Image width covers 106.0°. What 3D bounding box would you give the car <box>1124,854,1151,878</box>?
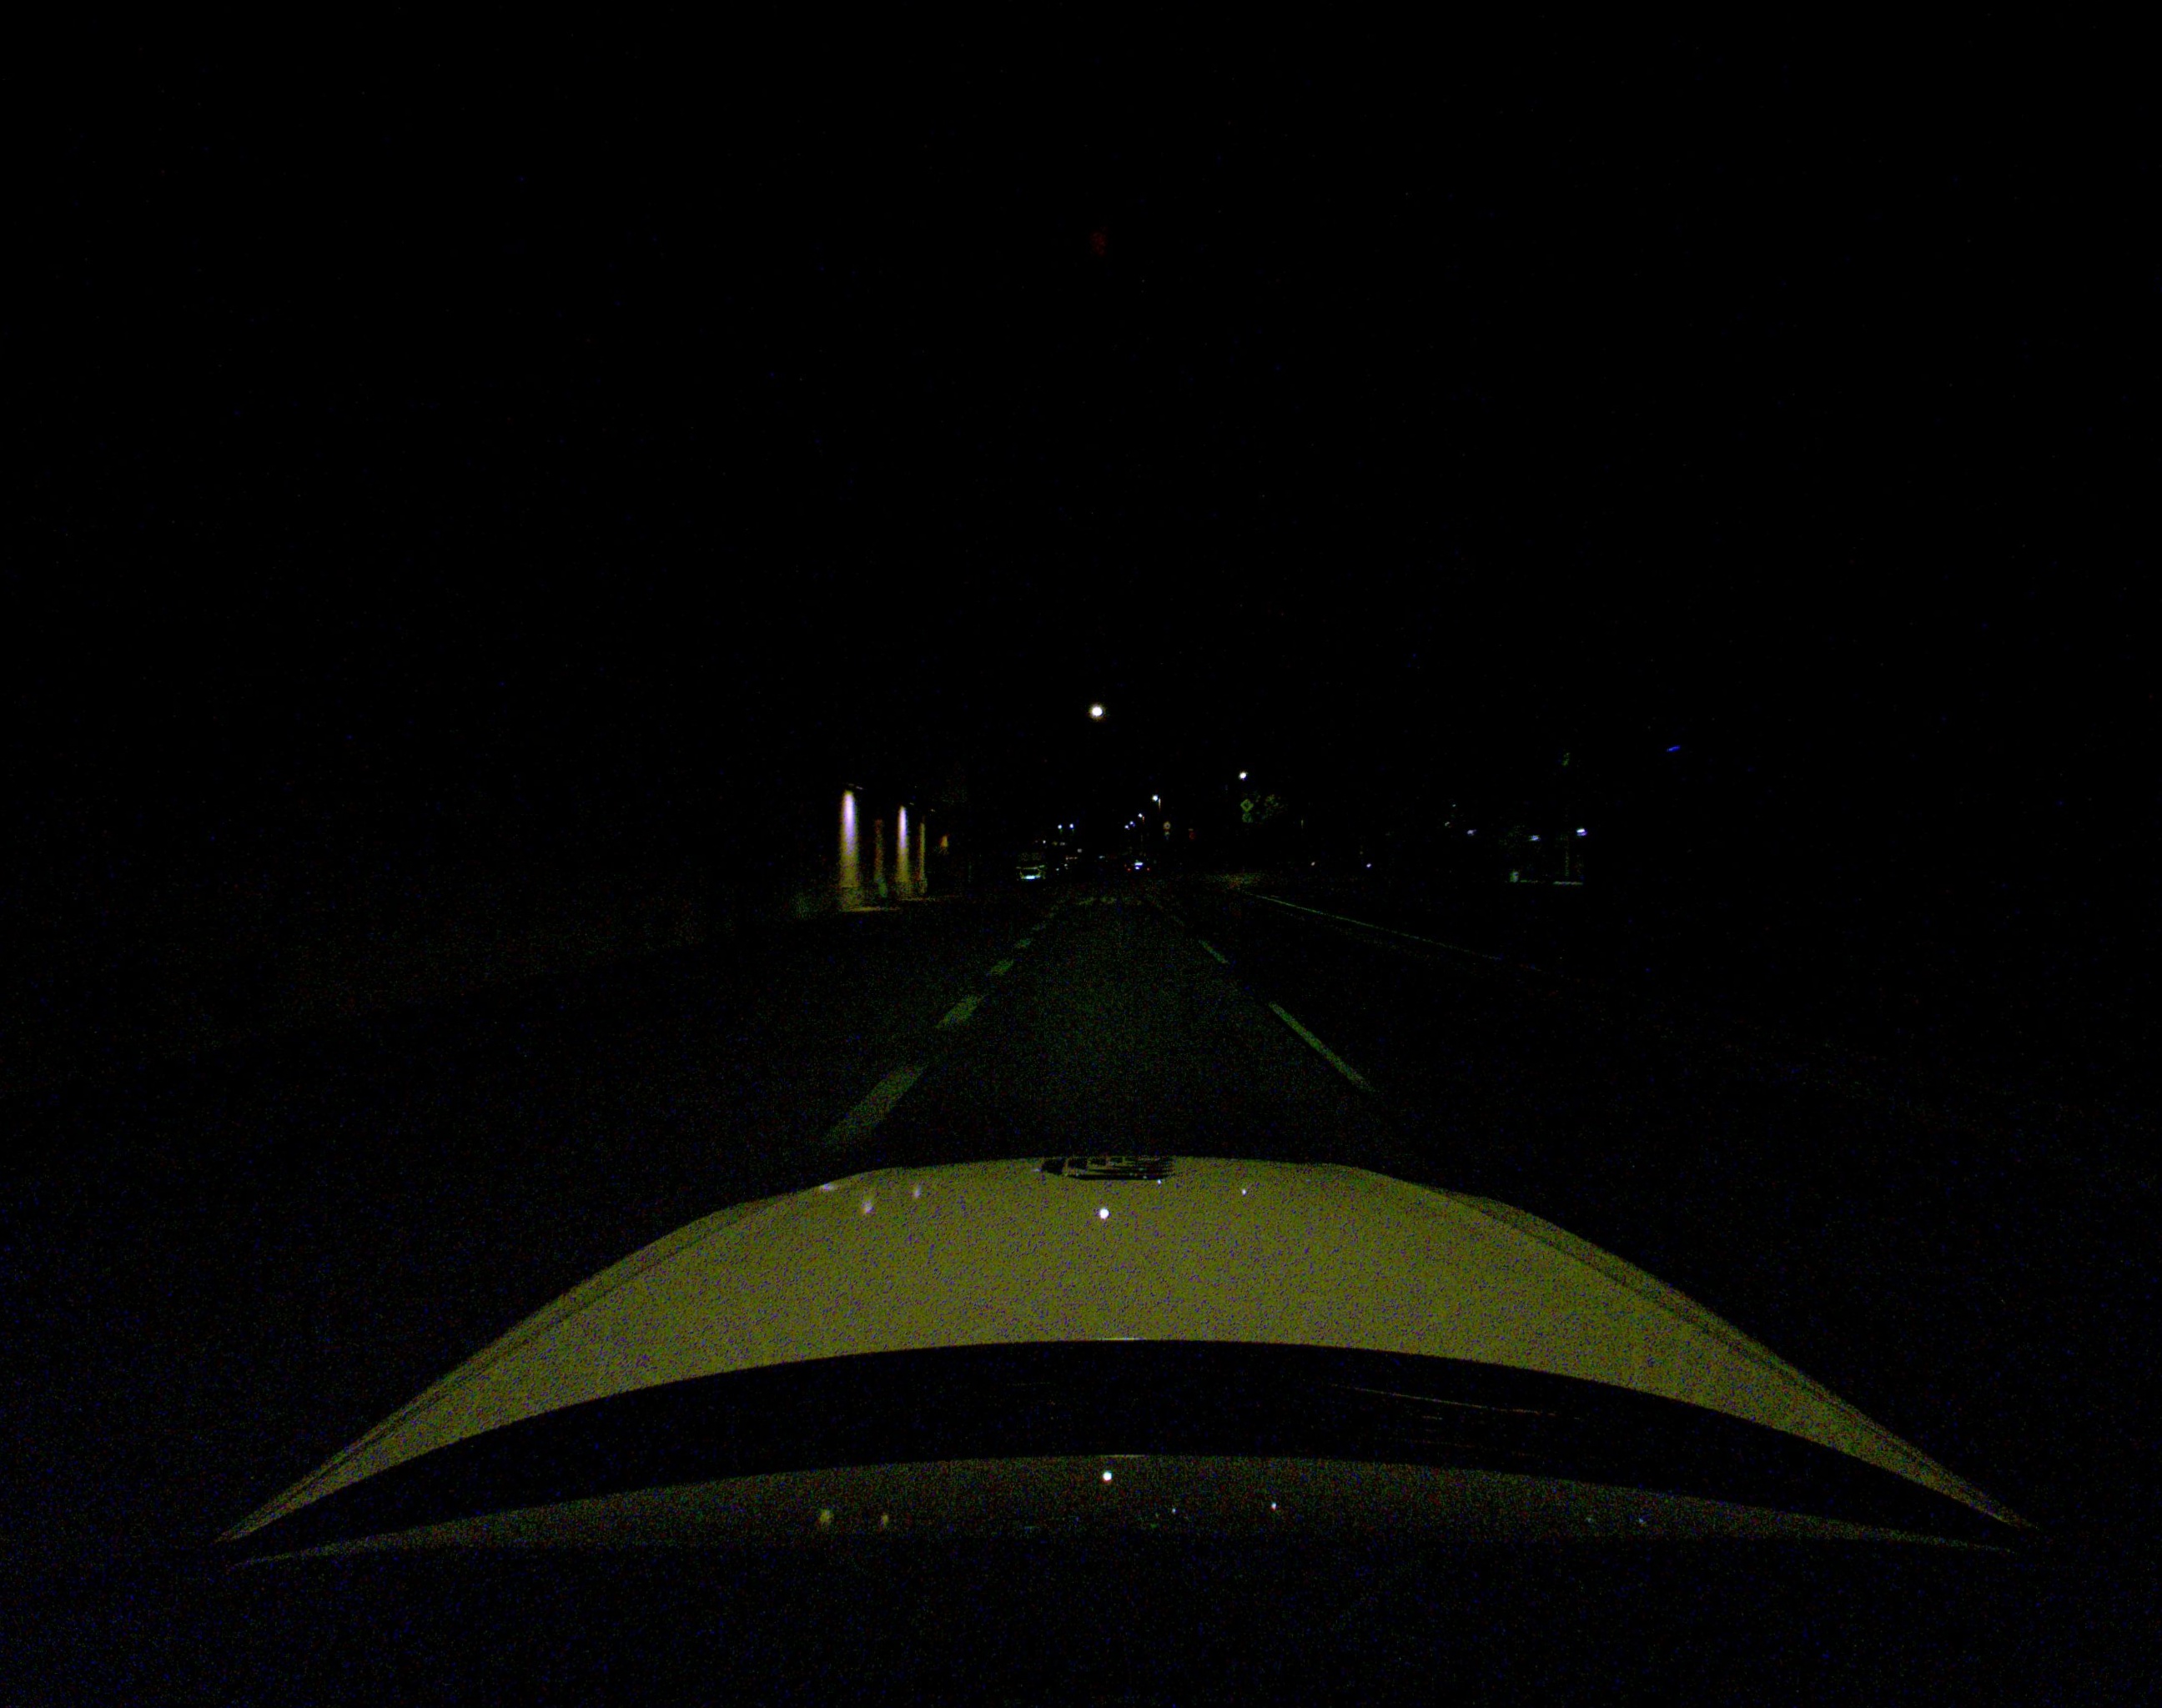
[{"bbox_3d":[4.201,0.877,60.582,1.876,1.603,4.111,-3,-1,3],"label":"car"}]

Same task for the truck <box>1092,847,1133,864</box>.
[{"bbox_3d":[5.325,0.295,138.119,6.758,2.844,1.999,-1,0,-2],"label":"truck"}]

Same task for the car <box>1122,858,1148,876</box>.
[{"bbox_3d":[4.339,1.032,65.725,1.956,1.383,4.001,-1,-1,2],"label":"car"}]

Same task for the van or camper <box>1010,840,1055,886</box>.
[{"bbox_3d":[-2.916,0.527,50.265,2.150,2.535,6.227,-3,-1,1],"label":"van or camper"}]

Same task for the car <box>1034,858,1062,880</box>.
[{"bbox_3d":[-2.508,1.110,61.426,1.836,1.507,4.733,-2,-1,-5],"label":"car"}]

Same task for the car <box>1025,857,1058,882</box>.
[{"bbox_3d":[-2.637,1.025,55.679,1.885,1.591,4.375,-3,-1,1],"label":"car"}]

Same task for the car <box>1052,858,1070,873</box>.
[{"bbox_3d":[-2.015,1.156,83.749,1.699,1.510,4.100,0,-1,1],"label":"car"}]

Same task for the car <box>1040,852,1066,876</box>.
[{"bbox_3d":[-2.420,0.873,71.322,1.986,1.955,4.807,-1,0,1],"label":"car"}]

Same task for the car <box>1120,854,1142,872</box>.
[{"bbox_3d":[5.058,0.932,83.492,2.032,1.694,4.884,-3,-1,2],"label":"car"}]
